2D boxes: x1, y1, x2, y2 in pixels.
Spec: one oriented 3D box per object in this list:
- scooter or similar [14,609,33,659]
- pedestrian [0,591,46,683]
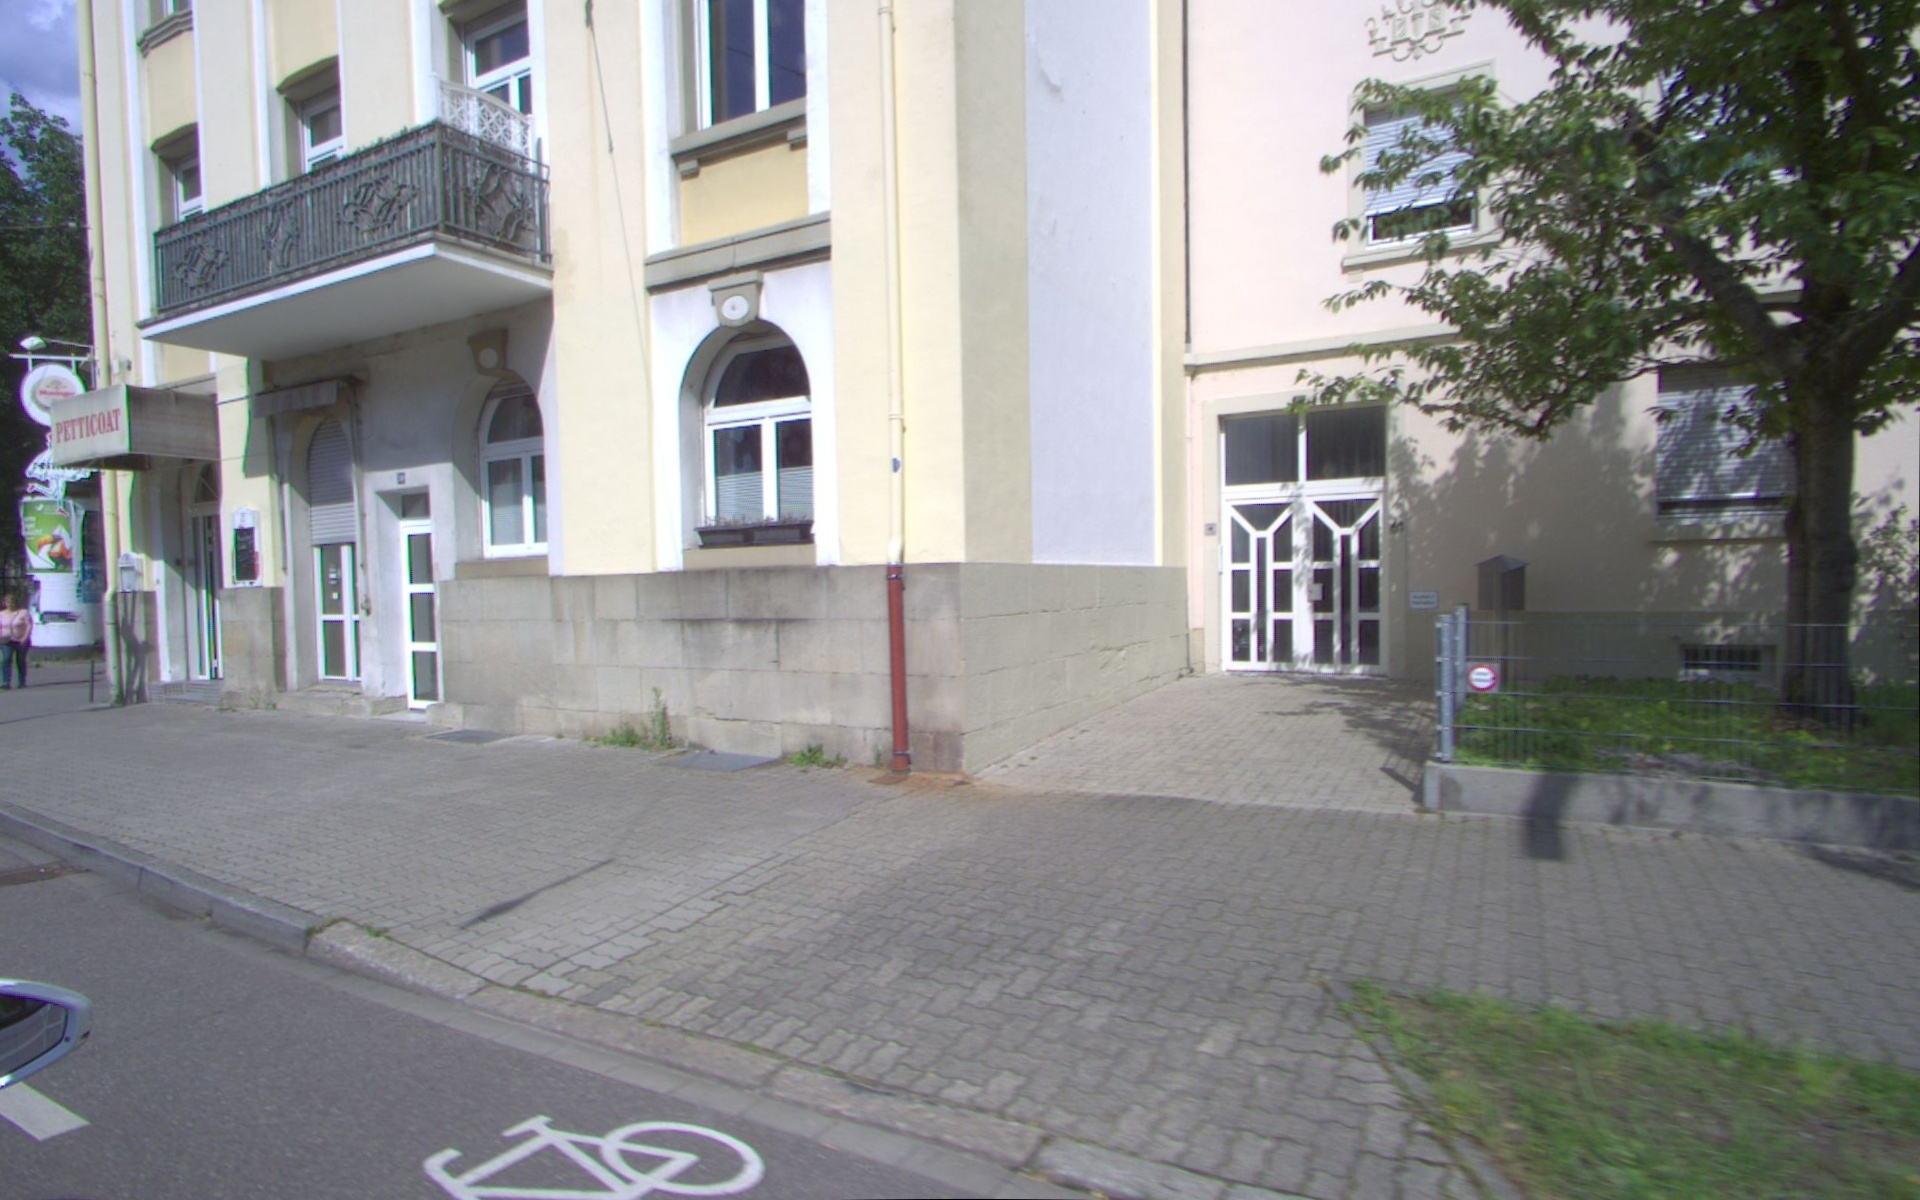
[{"bbox_3d":[-23.317,0.846,24.942,0.303,1.205,1.151,-2,2,-43],"label":"scooter or similar"},{"bbox_3d":[-17.664,0.685,18.763,0.666,1.670,0.757,-3,2,-38],"label":"pedestrian"}]
